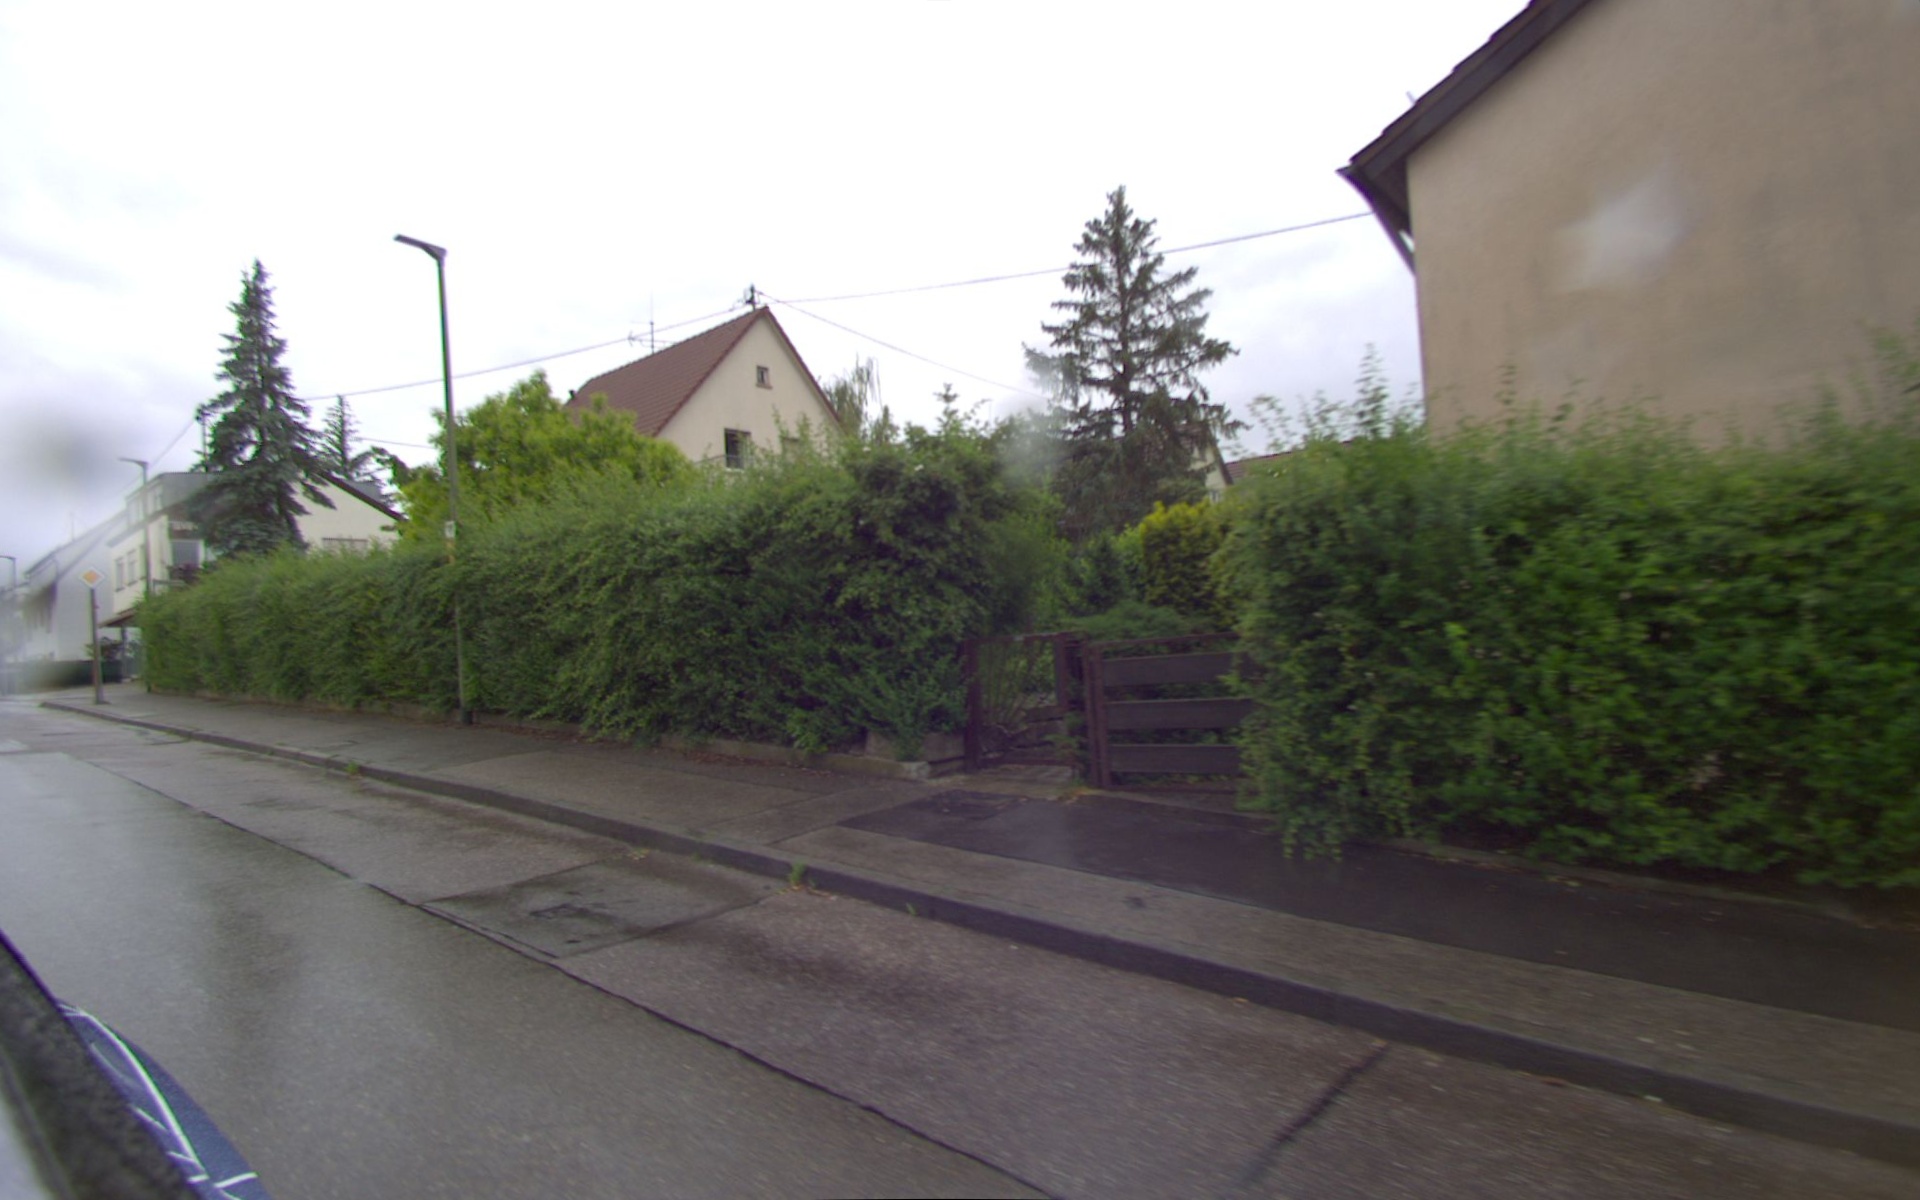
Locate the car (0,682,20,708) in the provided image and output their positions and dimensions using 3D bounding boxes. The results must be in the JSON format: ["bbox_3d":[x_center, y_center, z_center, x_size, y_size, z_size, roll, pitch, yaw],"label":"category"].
[{"bbox_3d":[-60.641,5.963,63.510,3.996,1.544,1.874,-4,-4,39],"label":"car"}]
